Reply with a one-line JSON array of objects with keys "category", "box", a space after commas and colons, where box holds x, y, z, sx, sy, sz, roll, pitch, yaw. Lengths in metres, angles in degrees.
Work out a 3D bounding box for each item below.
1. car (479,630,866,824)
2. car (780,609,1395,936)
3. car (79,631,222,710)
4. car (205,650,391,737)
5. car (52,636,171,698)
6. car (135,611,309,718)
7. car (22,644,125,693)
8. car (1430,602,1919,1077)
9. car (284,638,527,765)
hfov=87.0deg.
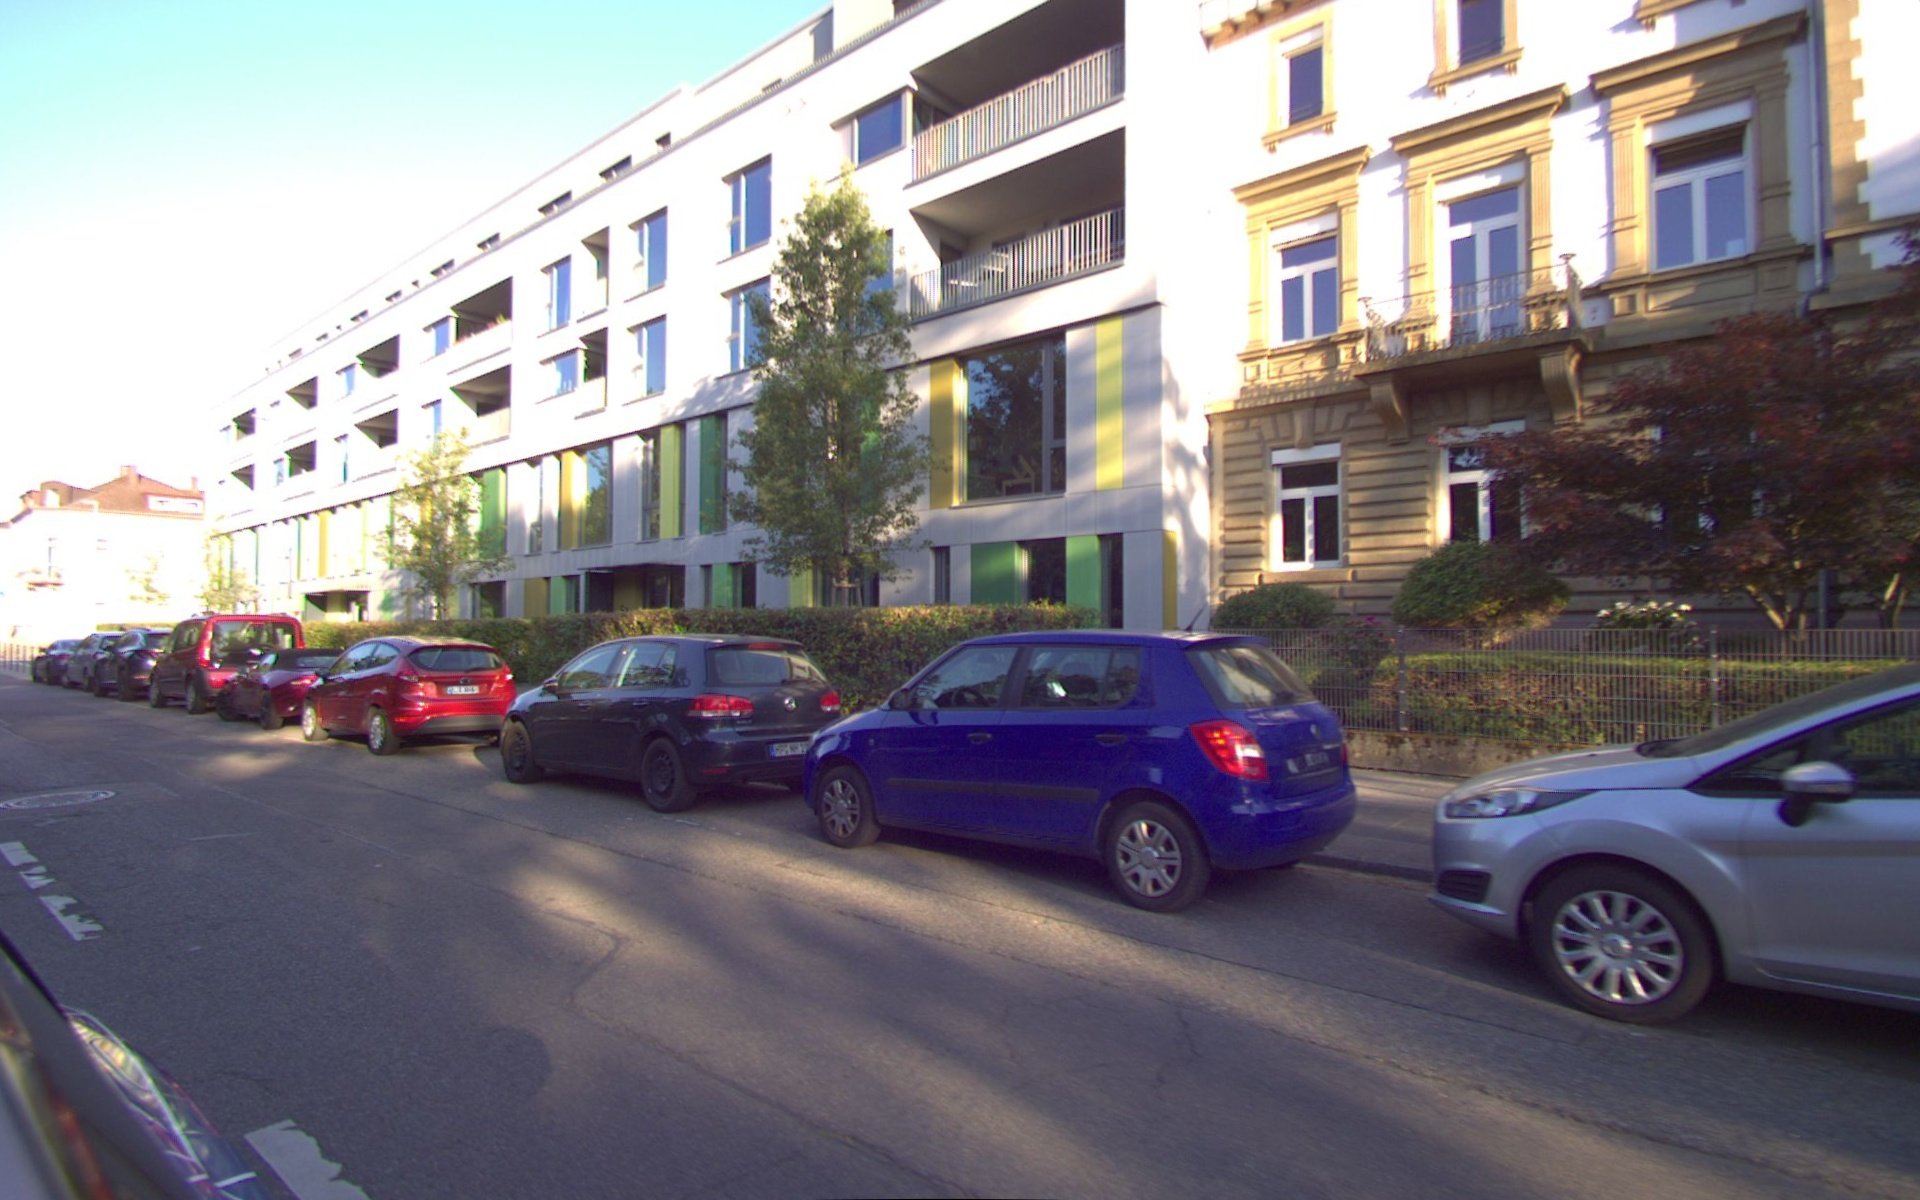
[{"category": "car", "box": [-2.865, 1.065, 9.618, 4.053, 1.466, 1.582, -3, -4, 41]}, {"category": "car", "box": [0.617, 0.904, 6.626, 3.787, 1.519, 1.581, -3, -5, 43]}, {"category": "car", "box": [-18.956, 1.613, 23.637, 4.413, 1.689, 1.724, -2, -4, 40]}, {"category": "car", "box": [-11.040, 1.484, 16.794, 3.730, 1.290, 1.540, -2, -4, 40]}, {"category": "car", "box": [-23.130, 1.769, 27.537, 4.111, 1.545, 1.725, -2, -3, 39]}, {"category": "car", "box": [-14.761, 1.262, 20.178, 4.235, 1.904, 1.789, -2, -4, 40]}, {"category": "car", "box": [-26.656, 2.012, 30.393, 4.394, 1.367, 1.724, -2, -3, 41]}, {"category": "car", "box": [3.896, 0.783, 3.566, 3.769, 1.505, 1.584, -3, -4, 41]}, {"category": "car", "box": [-7.574, 1.259, 13.681, 3.858, 1.466, 1.582, -2, -3, 40]}]
